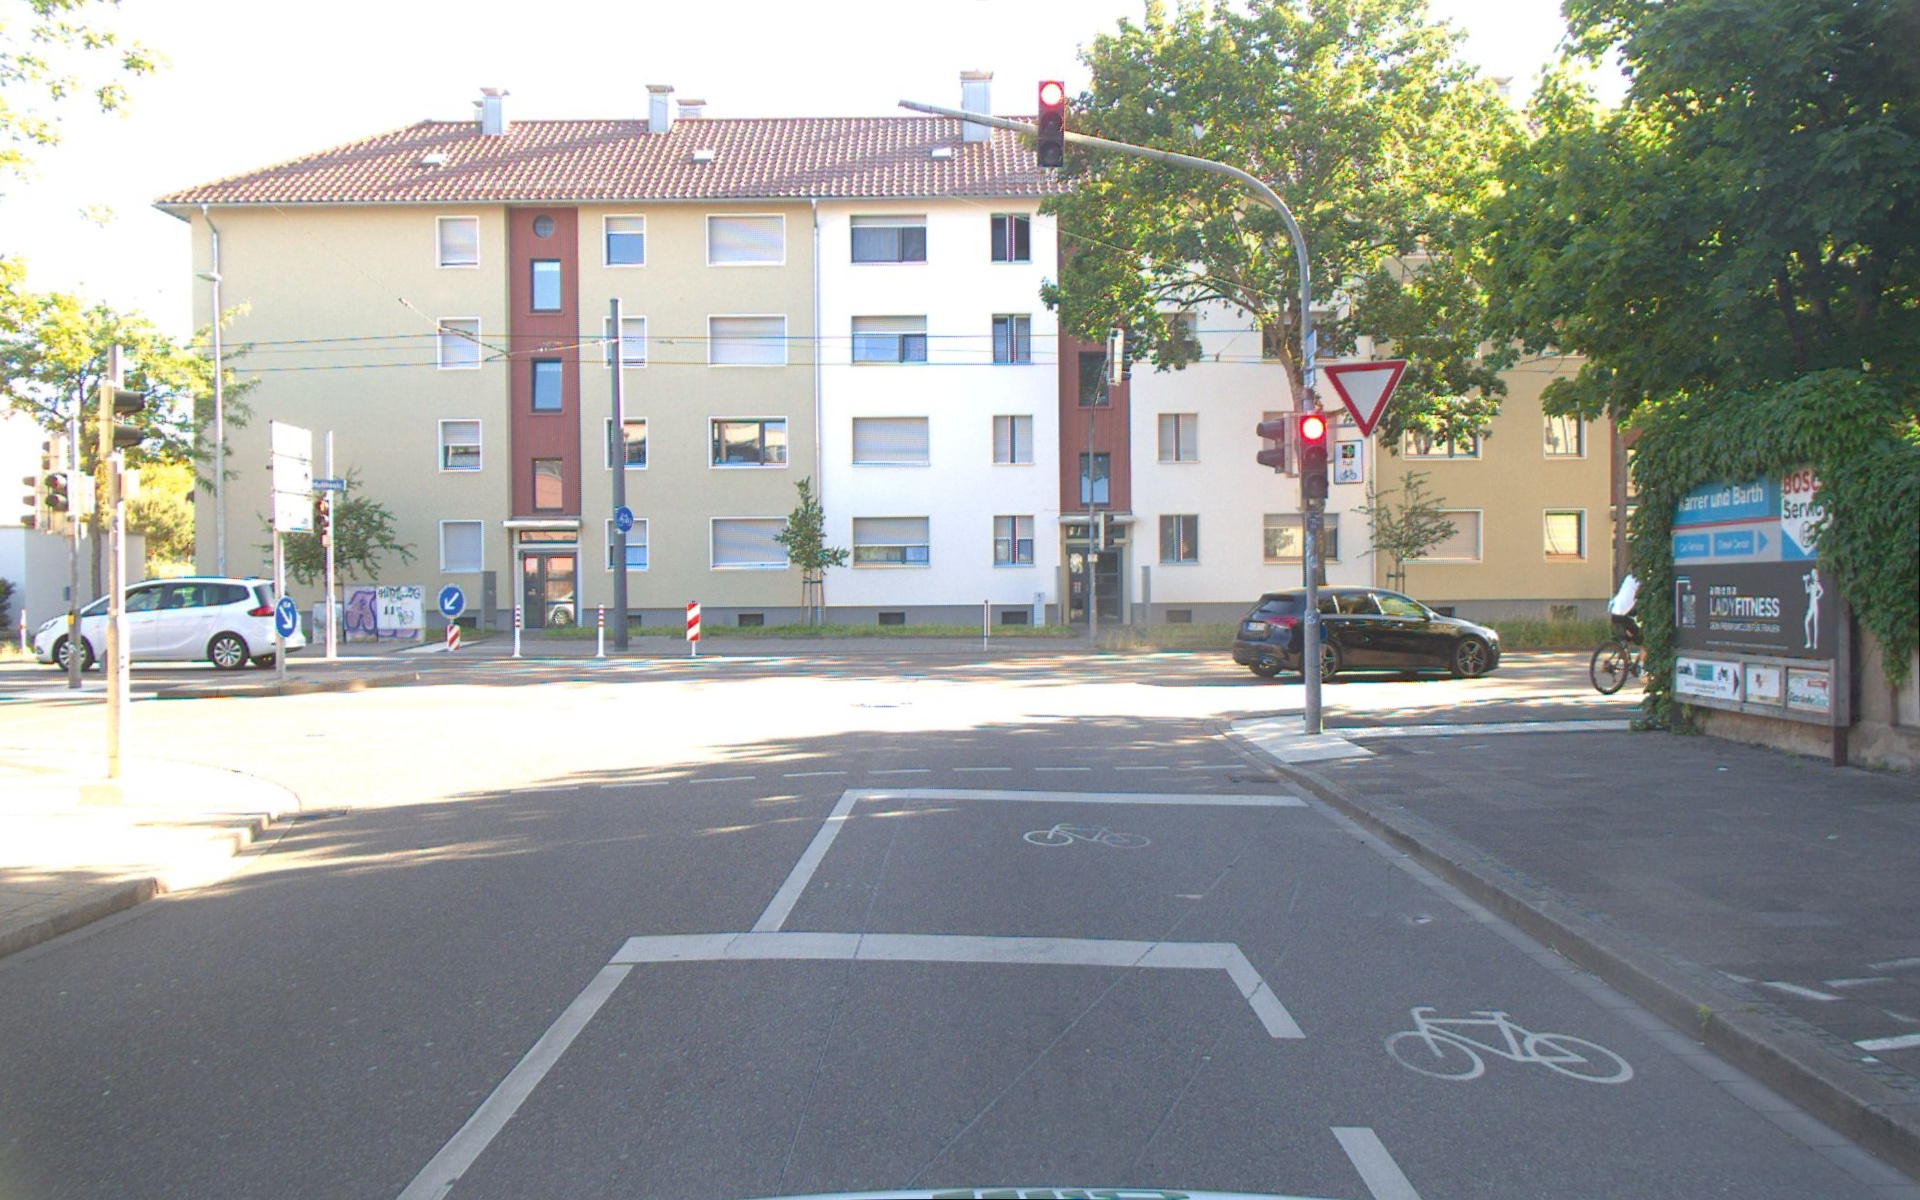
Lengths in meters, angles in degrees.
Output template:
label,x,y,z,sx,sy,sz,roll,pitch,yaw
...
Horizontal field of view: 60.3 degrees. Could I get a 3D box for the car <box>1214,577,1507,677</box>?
label,x,y,z,sx,sy,sz,roll,pitch,yaw
car,6.224,0.384,25.787,4.130,1.446,1.843,0,1,-20

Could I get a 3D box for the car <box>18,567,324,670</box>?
label,x,y,z,sx,sy,sz,roll,pitch,yaw
car,-14.225,0.311,30.060,4.571,1.770,1.998,0,1,-5

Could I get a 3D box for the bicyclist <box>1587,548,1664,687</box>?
label,x,y,z,sx,sy,sz,roll,pitch,yaw
bicyclist,8.703,0.220,21.651,0.770,1.788,0.613,0,0,4

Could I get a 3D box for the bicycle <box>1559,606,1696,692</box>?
label,x,y,z,sx,sy,sz,roll,pitch,yaw
bicycle,8.740,0.640,21.671,1.649,1.099,0.351,0,0,0
